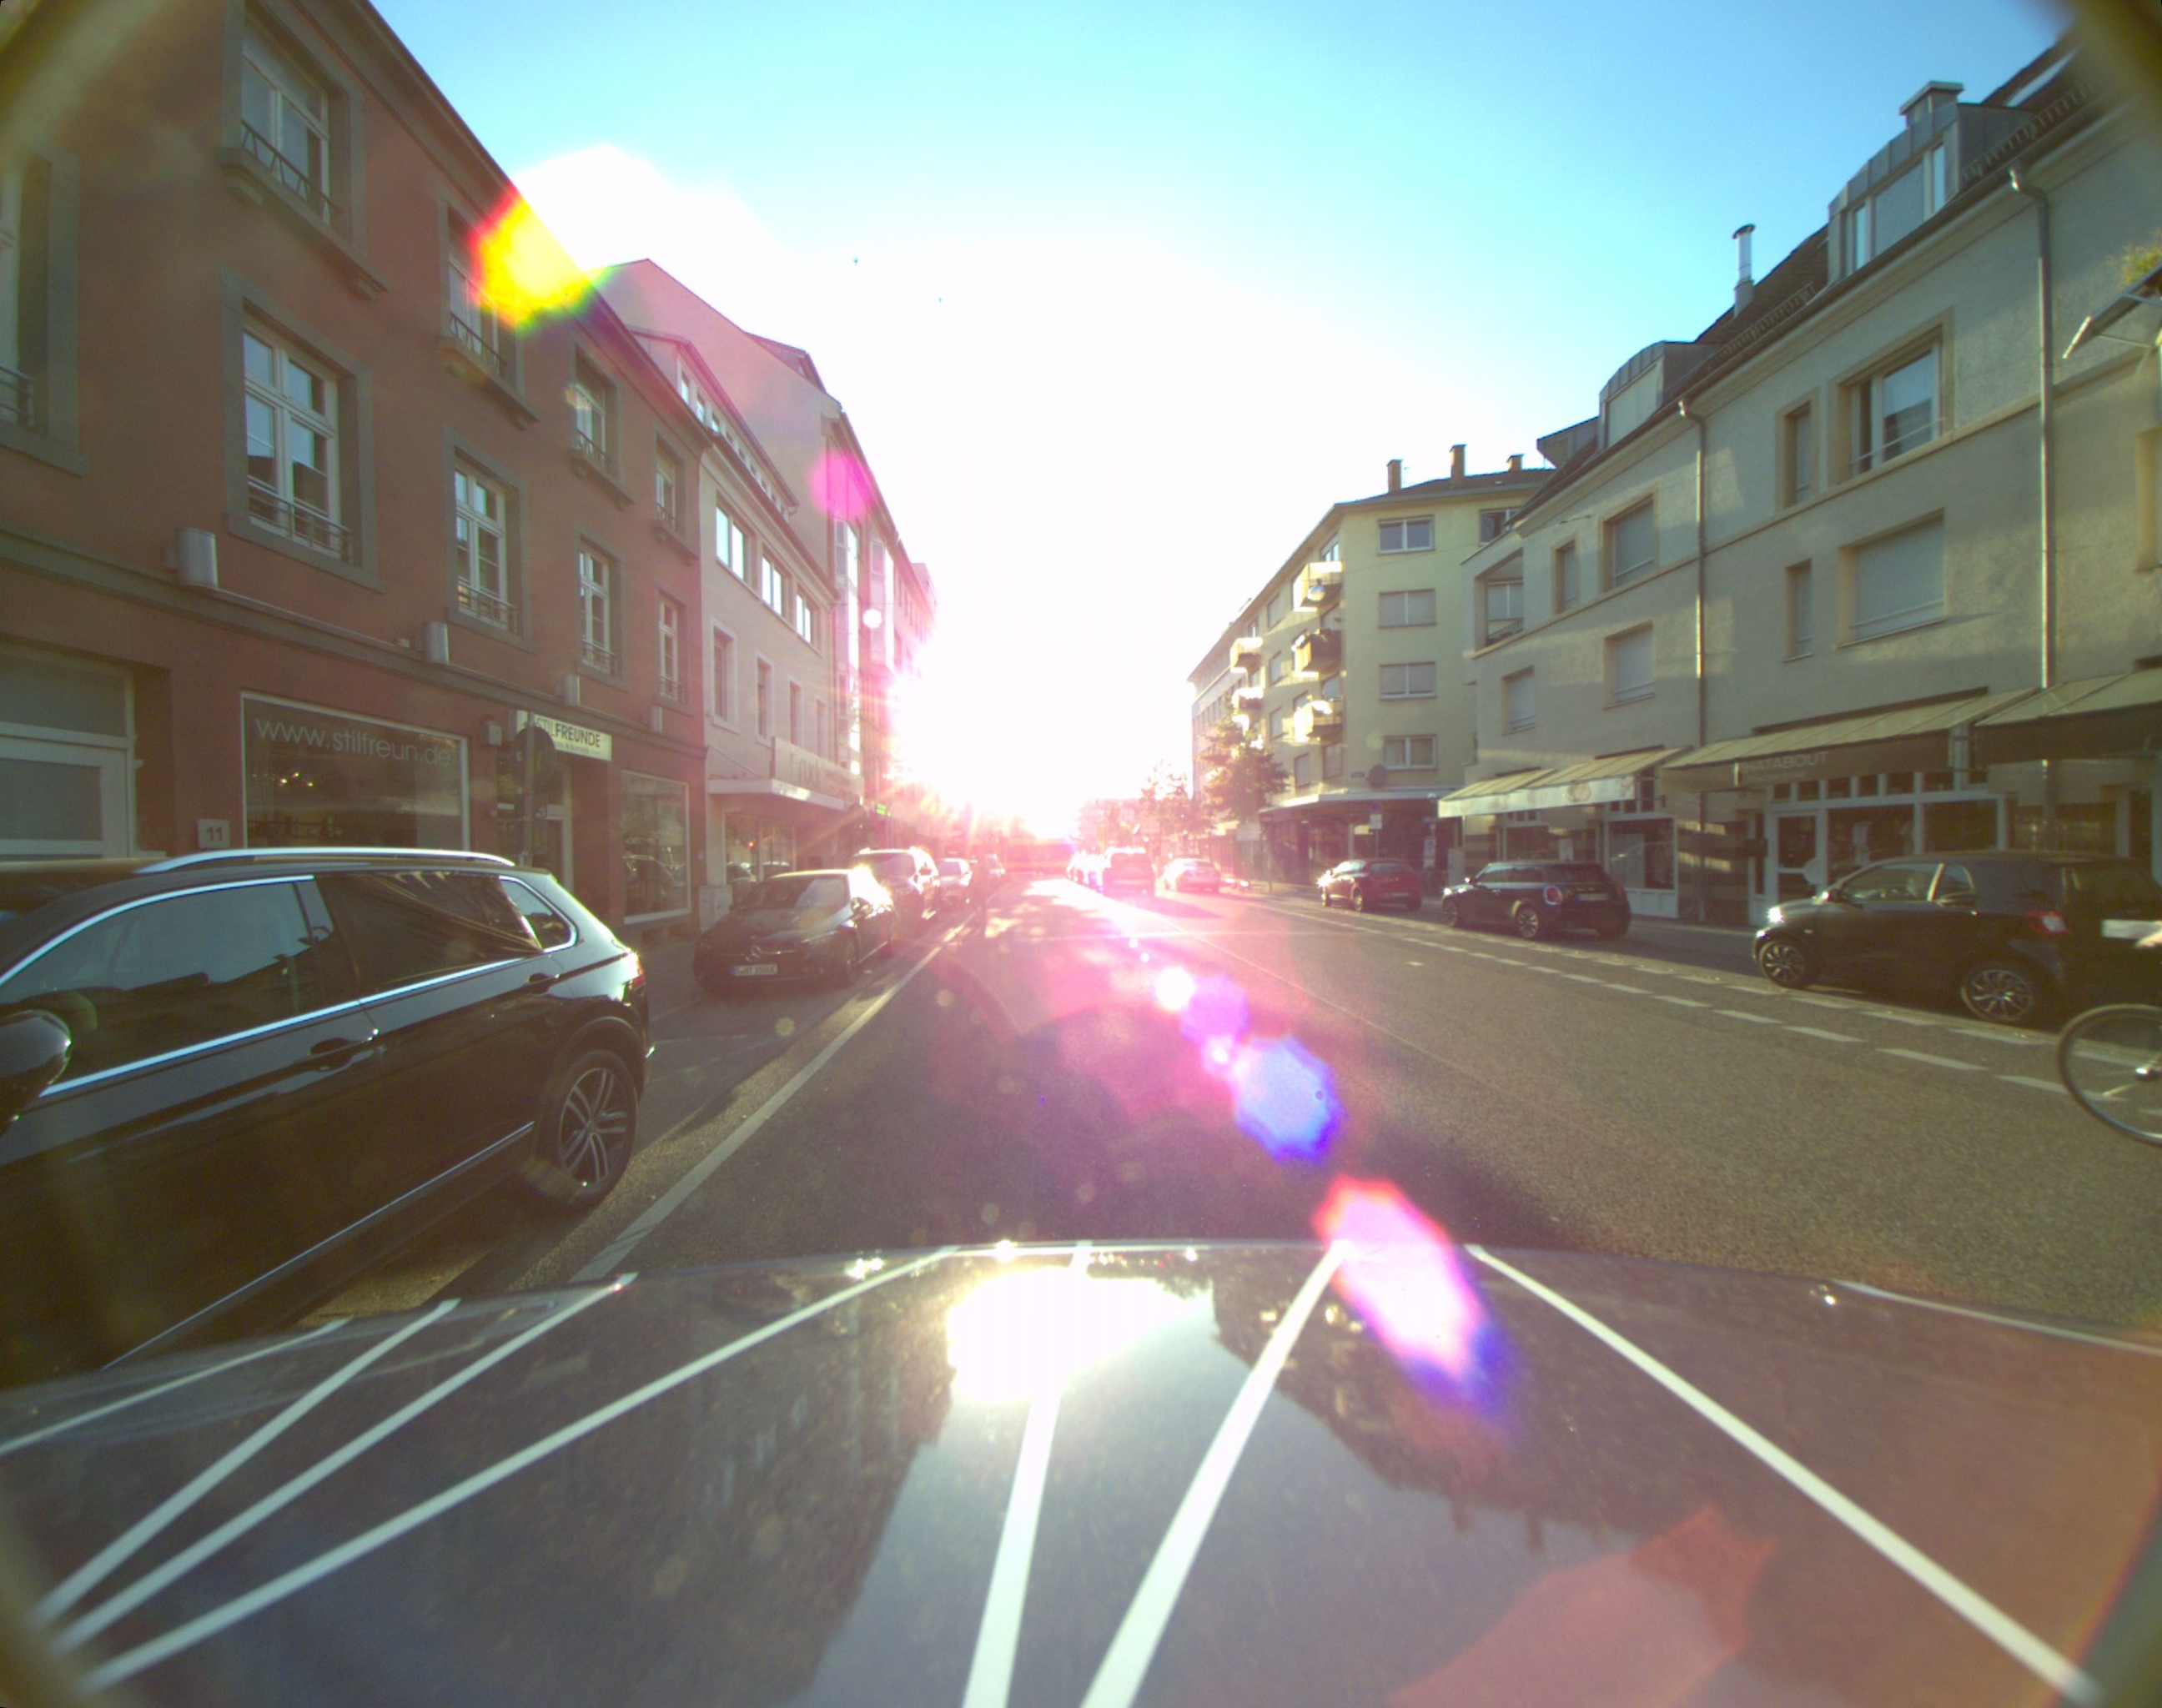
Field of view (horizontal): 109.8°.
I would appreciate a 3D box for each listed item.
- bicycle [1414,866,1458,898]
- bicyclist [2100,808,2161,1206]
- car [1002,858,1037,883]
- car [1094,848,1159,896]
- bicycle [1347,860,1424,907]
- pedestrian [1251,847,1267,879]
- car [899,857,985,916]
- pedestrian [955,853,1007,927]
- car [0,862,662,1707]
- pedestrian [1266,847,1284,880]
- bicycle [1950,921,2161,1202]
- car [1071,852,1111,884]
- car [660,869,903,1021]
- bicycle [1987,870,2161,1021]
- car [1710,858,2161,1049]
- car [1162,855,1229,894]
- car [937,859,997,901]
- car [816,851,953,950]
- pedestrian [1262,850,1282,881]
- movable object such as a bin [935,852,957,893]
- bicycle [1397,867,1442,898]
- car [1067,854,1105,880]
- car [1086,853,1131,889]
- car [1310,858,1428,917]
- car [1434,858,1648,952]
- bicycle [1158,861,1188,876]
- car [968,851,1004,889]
[{"bbox_3d":[12.205,0.939,26.209,0.491,0.986,2.015,-2,1,-2],"label":"bicycle"},{"bbox_3d":[5.360,0.704,3.192,0.783,1.818,1.006,0,1,-5],"label":"bicyclist"},{"bbox_3d":[-3.709,0.945,45.591,1.942,1.368,4.180,-2,0,-5],"label":"car"},{"bbox_3d":[1.603,0.586,28.303,1.946,1.635,4.737,0,1,-3],"label":"car"},{"bbox_3d":[9.647,0.893,24.279,0.961,1.293,3.125,-2,1,-5],"label":"bicycle"},{"bbox_3d":[10.144,0.518,43.255,0.769,1.836,0.743,-1,-1,7],"label":"pedestrian"},{"bbox_3d":[-4.240,0.912,23.904,1.816,1.518,4.992,-2,1,-1],"label":"car"},{"bbox_3d":[-2.325,0.813,17.647,0.908,1.666,0.991,-1,0,-27],"label":"pedestrian"},{"bbox_3d":[-3.068,0.928,1.862,1.817,1.658,4.204,-2,1,-3],"label":"car"},{"bbox_3d":[10.635,0.517,41.662,0.742,1.808,0.813,0,0,-1],"label":"pedestrian"},{"bbox_3d":[5.345,0.991,3.274,0.783,1.197,2.019,0,1,-5],"label":"bicycle"},{"bbox_3d":[0.480,0.716,41.797,1.951,1.635,4.613,0,1,-3],"label":"car"},{"bbox_3d":[-3.797,1.042,10.539,1.767,1.475,4.305,-2,1,-3],"label":"car"},{"bbox_3d":[10.529,0.887,7.347,0.612,1.367,2.357,-2,1,-4],"label":"bicycle"},{"bbox_3d":[8.854,0.826,7.930,1.797,1.526,3.187,-1,0,-6],"label":"car"},{"bbox_3d":[4.908,0.850,33.261,1.999,1.503,4.507,2,1,-3],"label":"car"},{"bbox_3d":[-4.335,0.945,29.507,1.757,1.412,4.508,-2,0,-2],"label":"car"},{"bbox_3d":[-4.096,0.854,16.749,1.888,1.744,5.056,-2,1,-3],"label":"car"},{"bbox_3d":[10.239,0.616,40.778,0.768,1.666,0.744,-1,1,39],"label":"pedestrian"},{"bbox_3d":[-6.046,0.831,34.090,0.837,1.764,1.352,-2,1,-7],"label":"movable object such as a bin"},{"bbox_3d":[11.651,0.961,26.238,0.491,0.986,2.015,-2,1,-5],"label":"bicycle"},{"bbox_3d":[0.268,0.813,48.491,1.964,1.538,4.508,-1,-1,-5],"label":"car"},{"bbox_3d":[1.233,0.740,35.260,1.728,1.540,4.463,0,1,-3],"label":"car"},{"bbox_3d":[8.075,0.878,21.686,1.665,1.394,3.882,-2,1,-4],"label":"car"},{"bbox_3d":[8.599,0.866,14.619,1.716,1.445,3.723,-2,1,-3],"label":"car"},{"bbox_3d":[6.485,1.001,53.728,2.015,0.986,0.491,-2,1,-7],"label":"bicycle"},{"bbox_3d":[-4.861,0.797,39.093,1.659,1.768,4.009,-2,0,-6],"label":"car"}]
